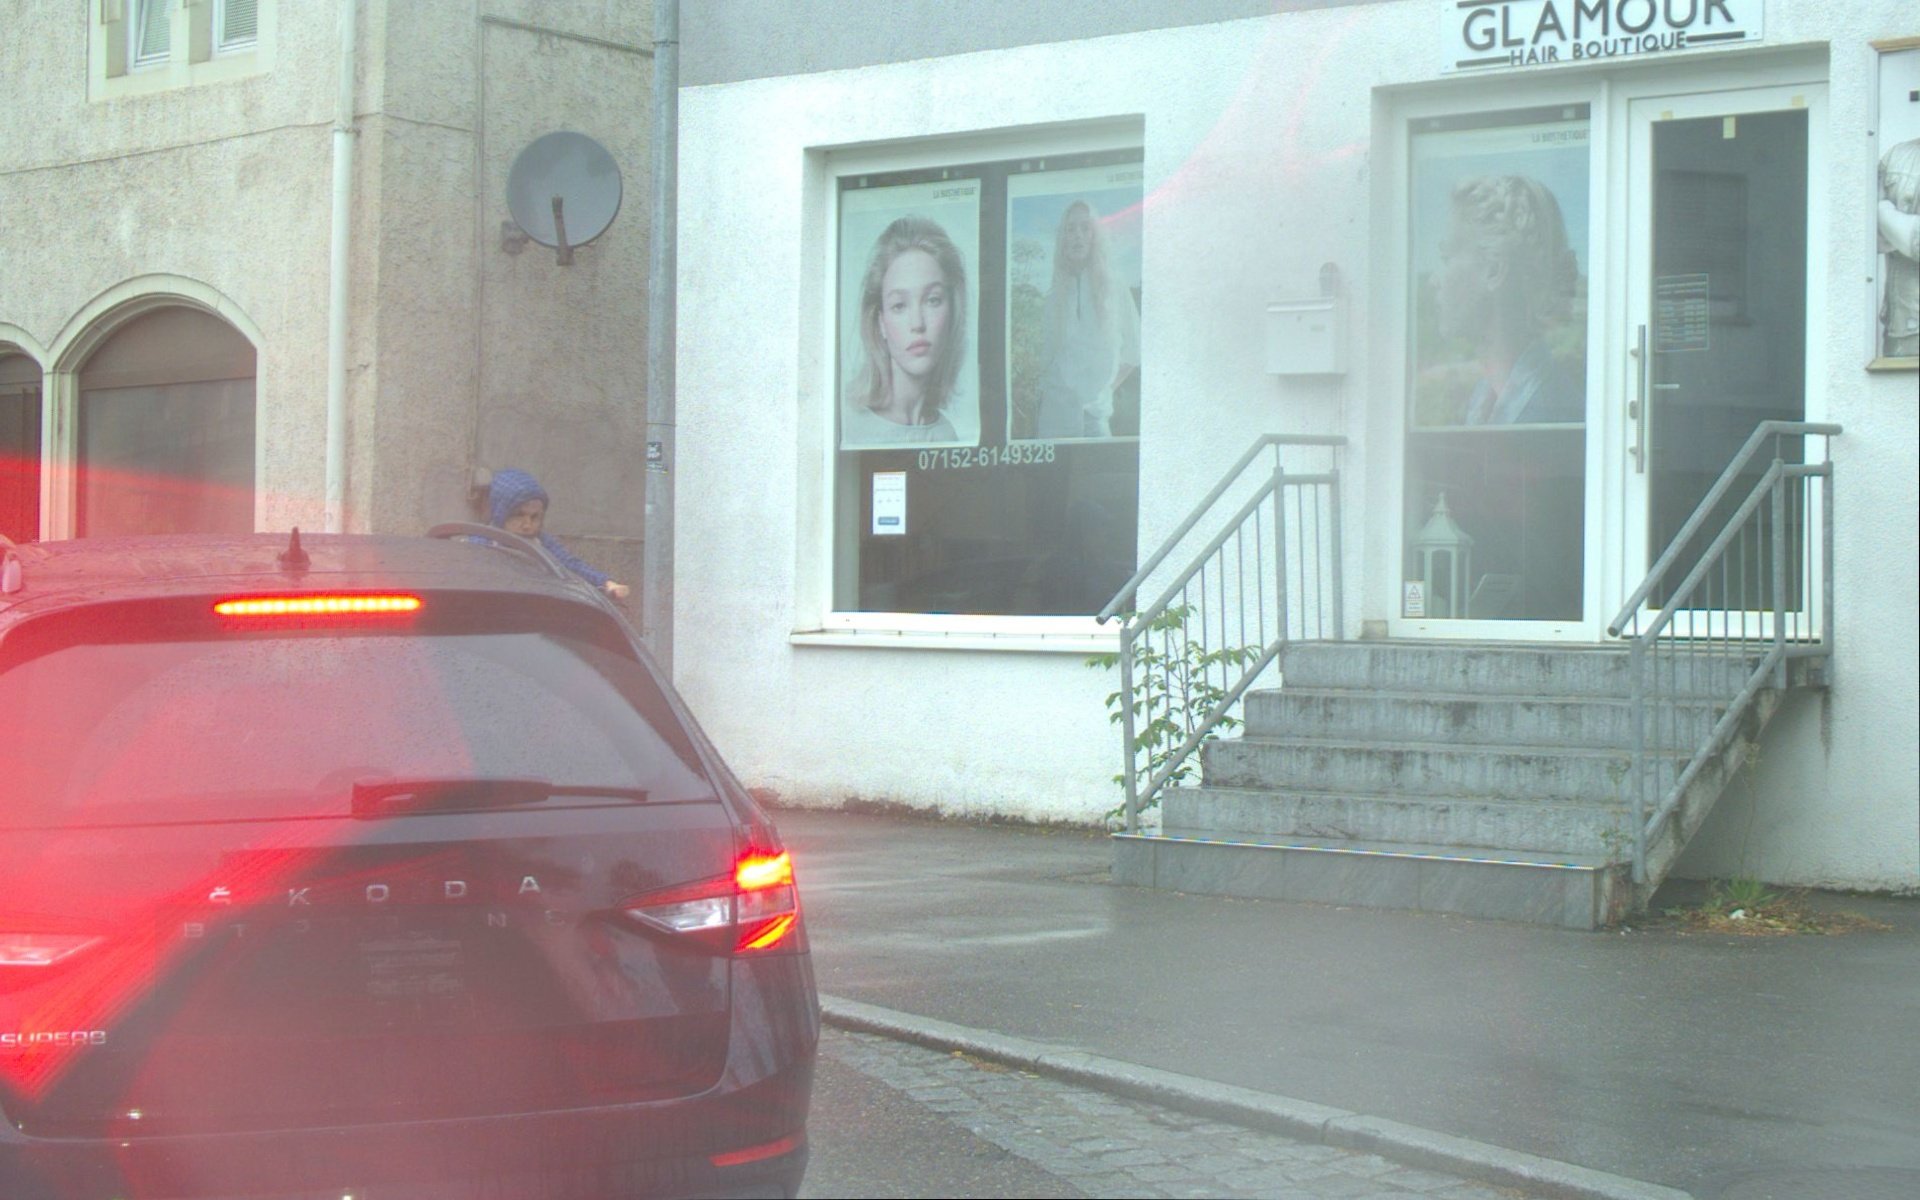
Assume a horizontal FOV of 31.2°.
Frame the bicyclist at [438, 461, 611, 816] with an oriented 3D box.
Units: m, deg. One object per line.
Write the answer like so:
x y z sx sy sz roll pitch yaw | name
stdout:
-1.940 0.150 15.224 0.683 1.512 1.031 1 2 -10 | bicyclist

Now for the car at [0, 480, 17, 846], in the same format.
-5.695 0.204 14.943 1.857 1.467 4.000 -2 3 -34 | car

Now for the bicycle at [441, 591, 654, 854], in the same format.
-1.880 0.514 15.418 0.761 1.031 2.081 3 0 -11 | bicycle

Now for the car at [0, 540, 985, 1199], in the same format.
-1.585 0.637 7.385 1.886 1.443 4.358 1 1 -19 | car
